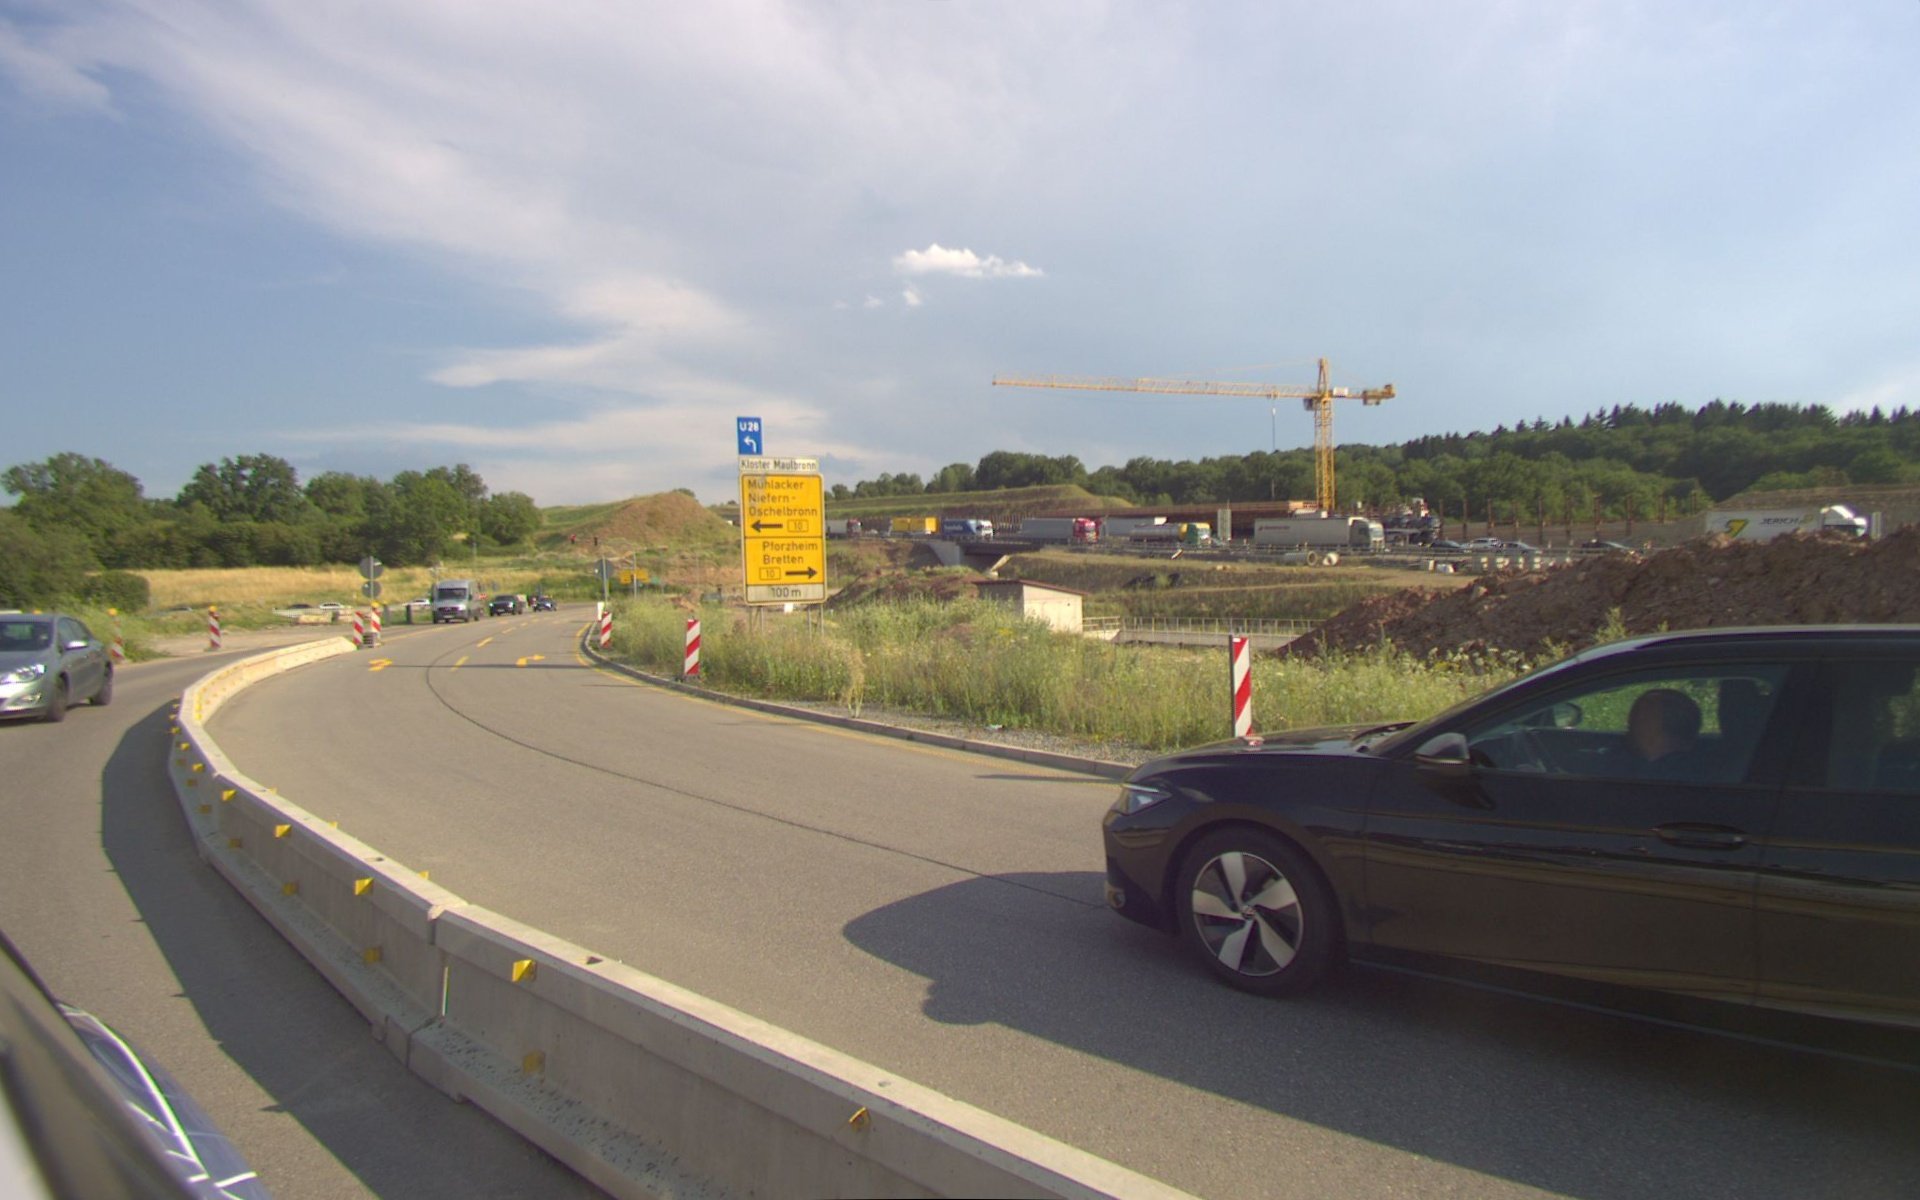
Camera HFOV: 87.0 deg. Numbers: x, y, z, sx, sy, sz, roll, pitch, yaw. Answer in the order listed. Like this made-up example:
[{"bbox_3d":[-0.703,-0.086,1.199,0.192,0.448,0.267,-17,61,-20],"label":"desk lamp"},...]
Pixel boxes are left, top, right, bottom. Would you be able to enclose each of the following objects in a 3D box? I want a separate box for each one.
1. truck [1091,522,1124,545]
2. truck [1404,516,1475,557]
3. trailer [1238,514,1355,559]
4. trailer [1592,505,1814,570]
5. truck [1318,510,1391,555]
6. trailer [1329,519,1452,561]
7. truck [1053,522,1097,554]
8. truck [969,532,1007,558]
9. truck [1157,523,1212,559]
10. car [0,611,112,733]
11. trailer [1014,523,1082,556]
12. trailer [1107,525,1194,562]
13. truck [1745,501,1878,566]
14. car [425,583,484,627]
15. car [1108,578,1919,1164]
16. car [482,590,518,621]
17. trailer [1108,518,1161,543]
[{"bbox_3d":[25.480,-11.497,174.863,1.944,3.540,6.614,-1,0,-30],"label":"truck"},{"bbox_3d":[56.088,-7.320,118.467,3.062,4.346,6.913,-1,0,-36],"label":"truck"},{"bbox_3d":[38.397,-7.126,116.455,3.060,4.346,14.295,-1,0,-30],"label":"trailer"},{"bbox_3d":[59.288,-4.797,81.536,3.060,4.346,14.295,-1,0,-30],"label":"trailer"},{"bbox_3d":[42.550,-7.192,109.354,3.060,4.346,6.917,-1,0,-30],"label":"truck"},{"bbox_3d":[52.333,-7.232,123.622,3.062,4.346,14.286,-1,0,-36],"label":"trailer"},{"bbox_3d":[17.489,-9.384,154.314,3.060,4.346,6.917,-1,0,-30],"label":"truck"},{"bbox_3d":[4.763,-9.379,174.095,2.480,4.031,8.580,-1,0,-29],"label":"truck"},{"bbox_3d":[29.433,-7.635,133.011,3.060,4.346,6.917,-1,0,-30],"label":"truck"},{"bbox_3d":[-13.393,0.934,14.150,1.719,1.495,4.264,-1,0,-31],"label":"car"},{"bbox_3d":[13.769,-9.490,160.589,3.060,4.346,14.295,-1,0,-30],"label":"trailer"},{"bbox_3d":[25.924,-7.624,139.132,3.060,4.346,14.295,-1,0,-30],"label":"trailer"},{"bbox_3d":[63.029,-4.822,75.070,3.060,4.346,6.917,-1,0,-30],"label":"truck"},{"bbox_3d":[-30.781,0.292,61.794,1.886,2.520,5.812,-1,0,-13],"label":"car"},{"bbox_3d":[2.893,0.715,3.425,4.508,1.530,1.694,0,-1,37],"label":"car"},{"bbox_3d":[-37.247,0.404,81.976,1.846,2.421,4.010,-1,0,-13],"label":"car"},{"bbox_3d":[28.975,-11.504,168.835,1.938,3.540,11.209,-1,0,-30],"label":"trailer"}]
